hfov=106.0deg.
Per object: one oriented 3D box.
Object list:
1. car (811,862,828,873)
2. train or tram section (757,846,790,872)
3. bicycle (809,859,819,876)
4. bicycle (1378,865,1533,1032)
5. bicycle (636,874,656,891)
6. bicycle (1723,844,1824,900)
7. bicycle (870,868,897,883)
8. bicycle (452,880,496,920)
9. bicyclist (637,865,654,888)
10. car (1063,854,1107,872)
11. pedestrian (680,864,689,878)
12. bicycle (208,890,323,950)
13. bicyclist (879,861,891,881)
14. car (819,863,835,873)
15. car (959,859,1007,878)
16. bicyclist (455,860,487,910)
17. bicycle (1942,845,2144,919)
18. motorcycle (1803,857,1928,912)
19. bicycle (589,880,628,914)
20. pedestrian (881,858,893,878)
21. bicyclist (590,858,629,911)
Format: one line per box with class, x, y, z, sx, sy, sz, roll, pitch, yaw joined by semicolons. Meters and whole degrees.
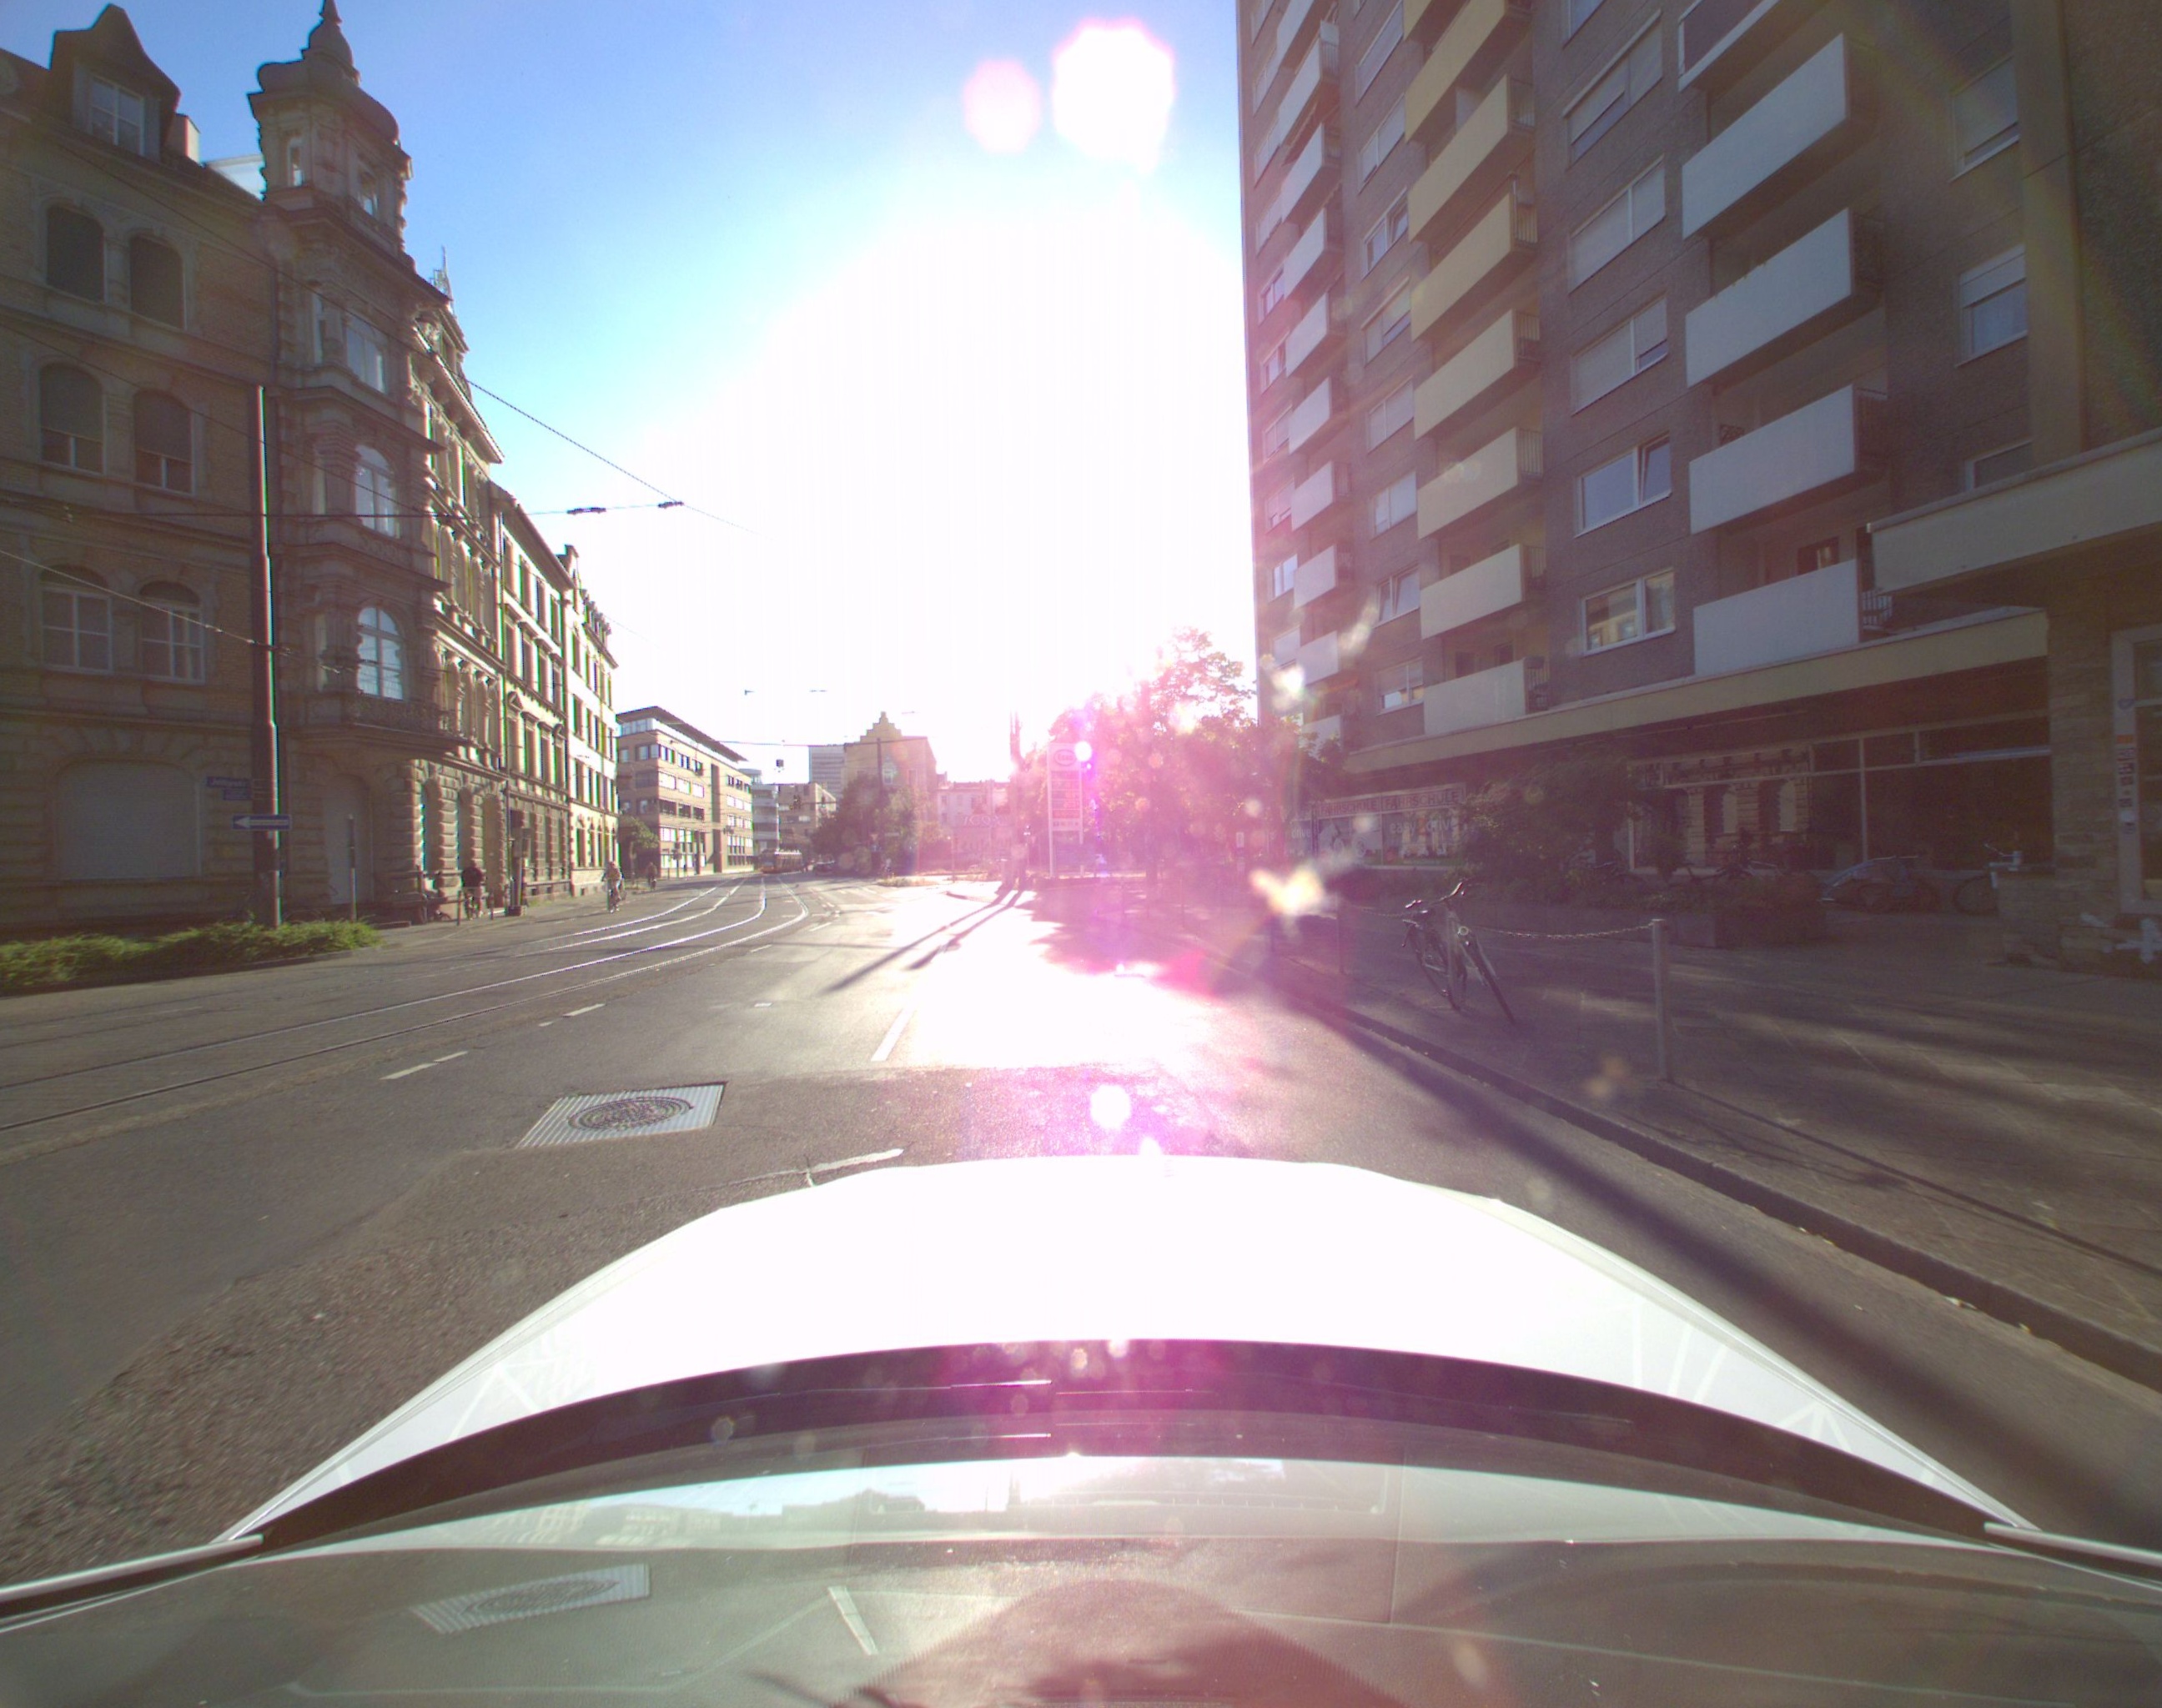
car;-37.915;1.961;118.035;1.996;1.464;3.982;-2;0;-13
train or tram section;-45.499;0.739;120.947;2.243;3.574;14.219;-2;0;-11
bicycle;-29.017;1.425;88.491;0.570;1.806;1.343;-2;-1;-38
bicycle;3.231;0.736;7.249;0.635;1.226;2.093;-2;0;8
bicycle;-29.487;1.916;55.277;0.950;1.097;1.984;-2;0;-22
bicycle;12.254;0.313;14.449;0.432;0.942;1.317;-2;0;-17
bicycle;-14.287;1.570;58.988;1.837;0.984;0.730;-2;0;-17
bicycle;-18.647;1.396;25.046;0.503;1.133;2.111;-2;0;-21
bicyclist;-29.574;1.518;55.317;0.846;1.514;0.796;-2;0;-22
car;0.380;0.811;76.259;3.973;1.507;1.673;-2;0;1
pedestrian;-53.431;2.327;109.691;0.806;1.842;0.733;-2;0;-11
bicycle;-18.819;1.498;18.833;0.496;1.206;1.803;1;2;34
bicyclist;-14.223;1.203;59.044;0.805;1.413;0.620;-2;-1;-16
car;-39.981;2.164;128.267;1.996;1.486;3.982;-2;0;-13
car;-8.719;1.276;72.529;3.972;1.453;1.810;-2;0;1
bicyclist;-18.701;0.942;24.980;0.594;1.491;0.697;-2;-1;-21
bicycle;13.070;0.362;11.137;0.643;0.899;1.642;-2;0;-17
motorcycle;12.322;0.465;12.839;0.432;0.795;1.359;-2;0;-17
bicycle;-17.501;1.566;30.209;0.885;1.156;2.307;-2;0;-21
pedestrian;-16.838;1.213;70.721;0.927;1.692;0.774;-2;0;-13
bicyclist;-17.464;1.112;30.191;1.033;1.891;1.104;-2;-1;-22
